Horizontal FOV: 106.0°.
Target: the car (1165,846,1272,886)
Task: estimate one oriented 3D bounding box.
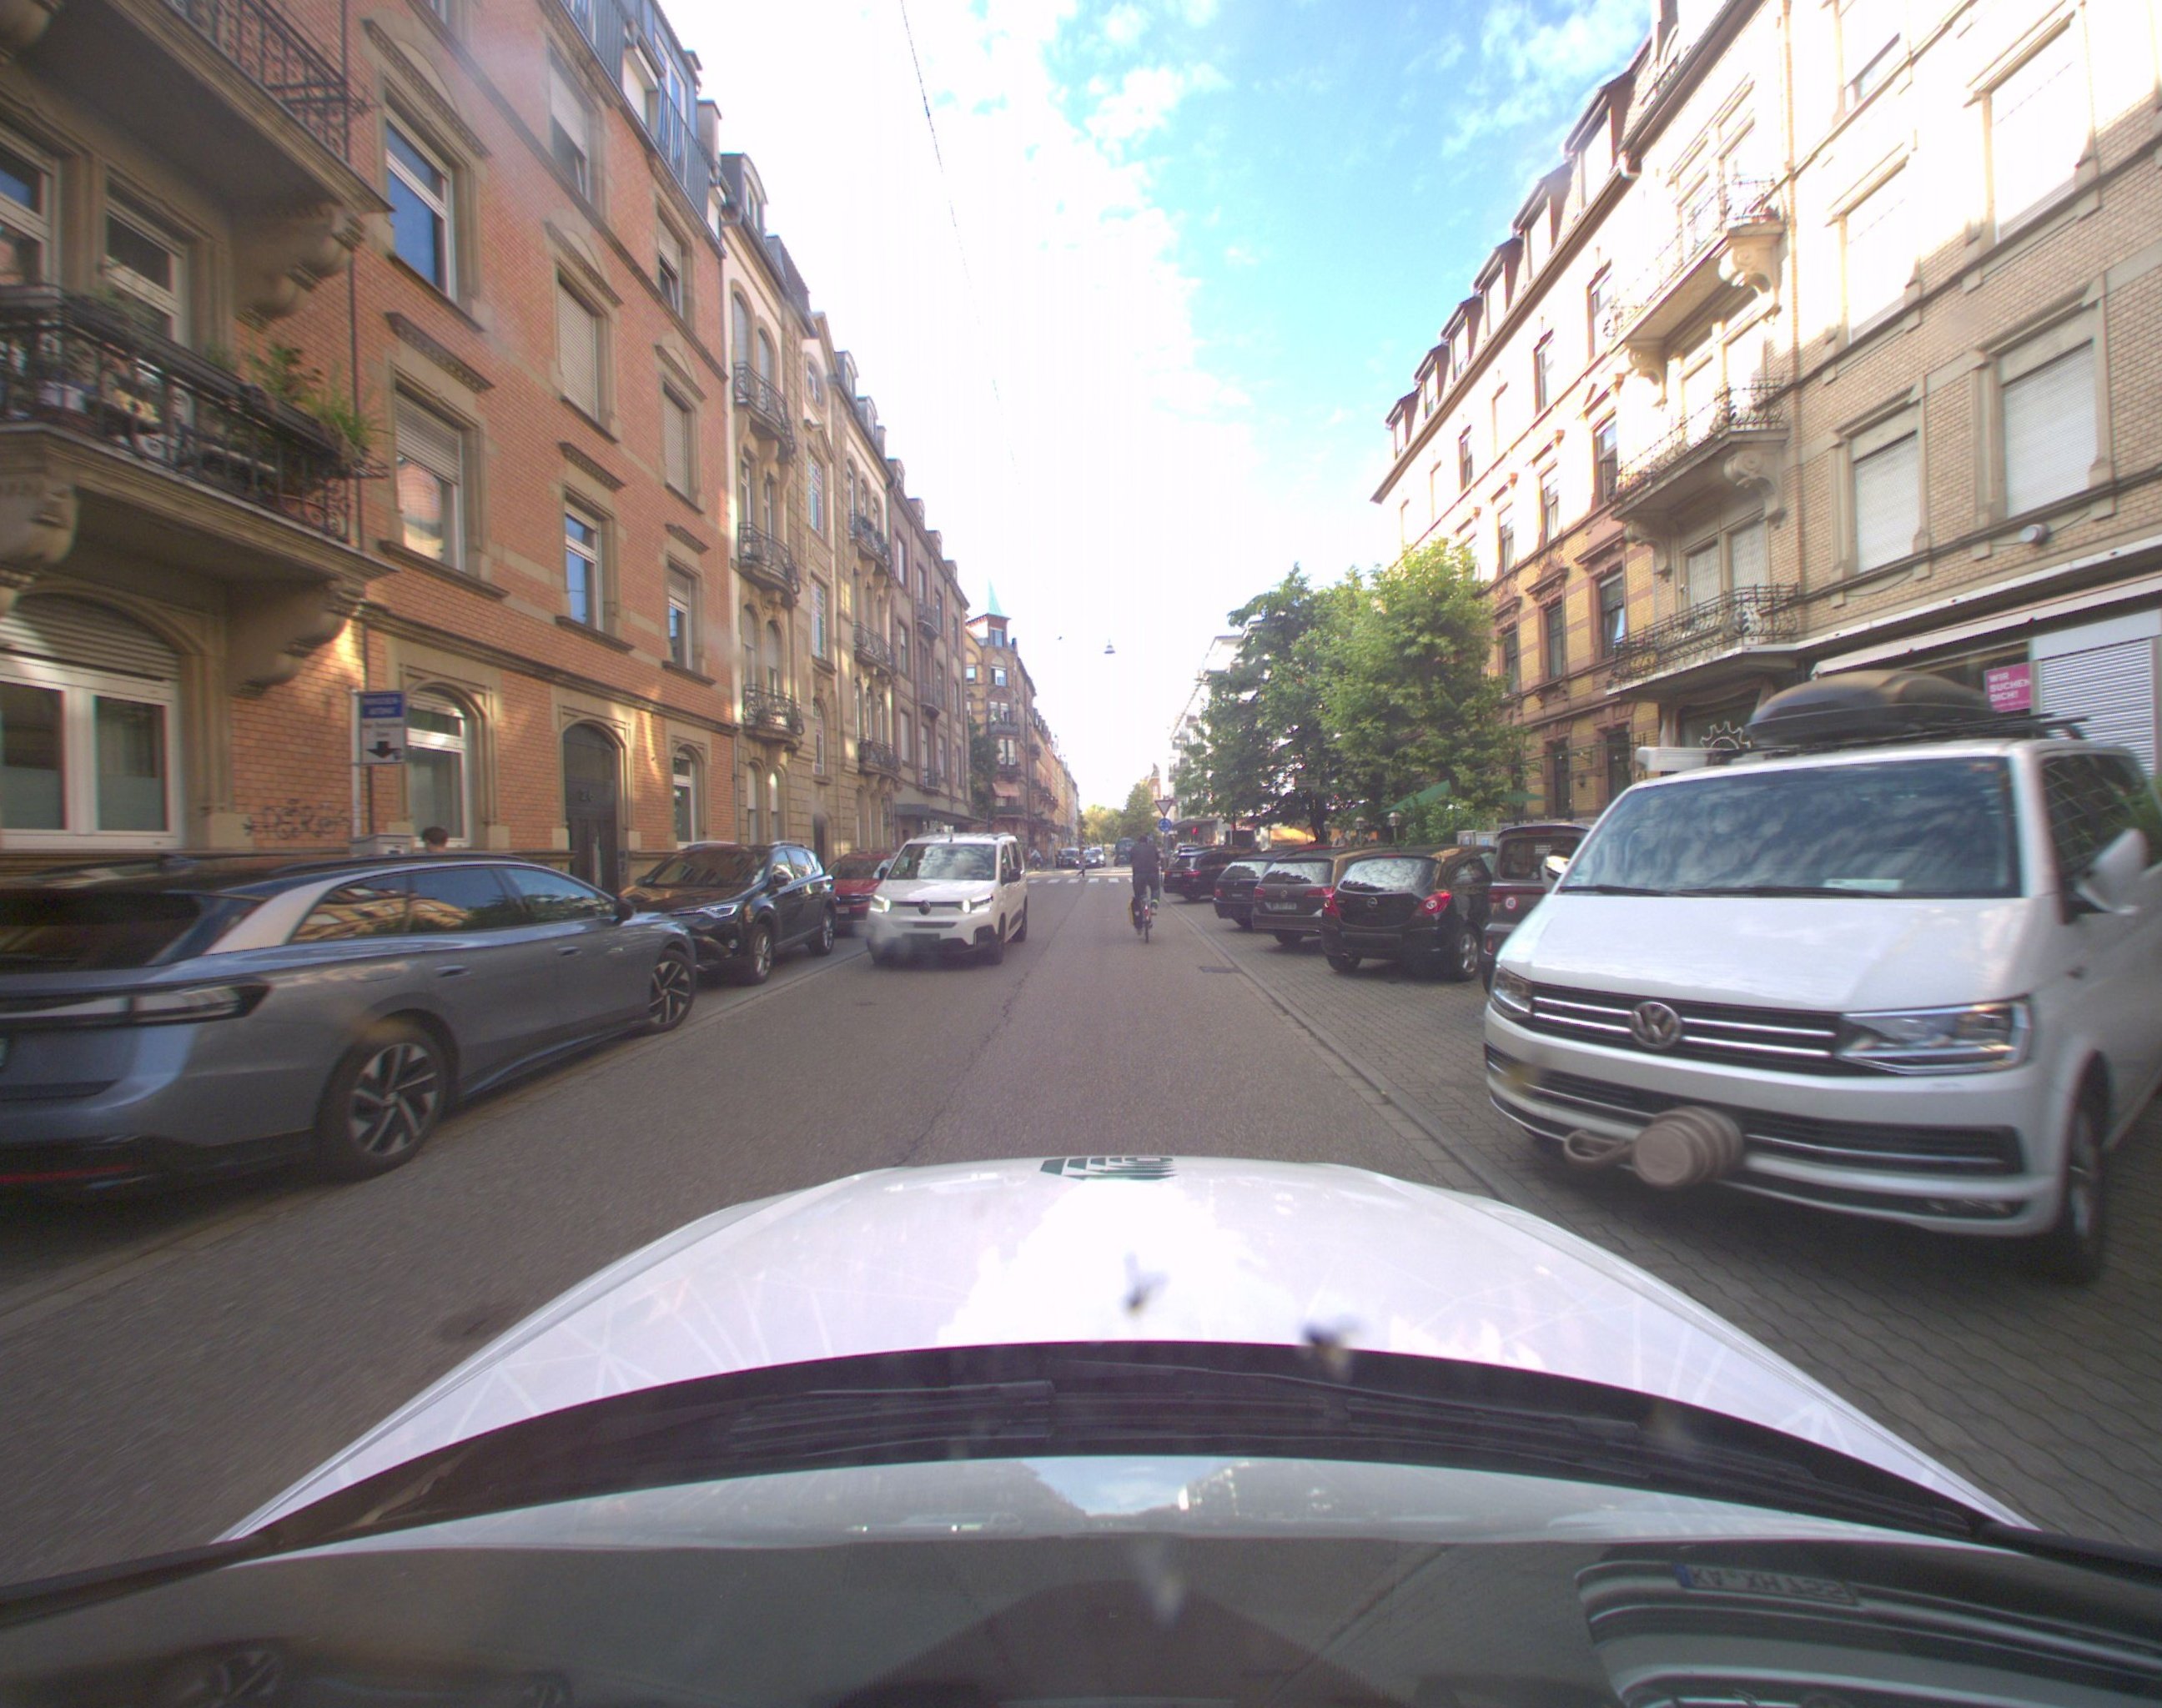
[{"bbox_3d":[5.576,0.464,32.957,3.952,1.457,1.754,-2,0,-26],"label":"car"}]

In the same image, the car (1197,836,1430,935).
[{"bbox_3d":[4.615,0.524,15.935,4.486,1.464,1.860,-4,2,-33],"label":"car"}]

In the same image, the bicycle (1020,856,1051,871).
[{"bbox_3d":[-3.380,0.715,60.212,2.188,1.092,0.674,0,0,-15],"label":"bicycle"}]

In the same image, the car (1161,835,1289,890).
[{"bbox_3d":[5.358,0.288,30.328,4.362,1.645,1.807,-4,1,-24],"label":"car"}]

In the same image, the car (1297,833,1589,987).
[{"bbox_3d":[4.688,0.558,10.292,4.015,1.459,1.730,-3,1,-40],"label":"car"}]

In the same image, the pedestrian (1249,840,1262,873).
[{"bbox_3d":[9.420,0.129,43.899,0.624,1.739,0.779,-2,0,14],"label":"pedestrian"}]

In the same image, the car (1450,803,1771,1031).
[{"bbox_3d":[4.917,0.472,7.584,2.473,1.666,1.336,-5,2,-25],"label":"car"}]

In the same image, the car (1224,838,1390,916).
[{"bbox_3d":[5.261,0.474,18.801,3.737,1.485,1.722,-4,1,-36],"label":"car"}]

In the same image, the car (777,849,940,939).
[{"bbox_3d":[-4.346,0.708,16.698,1.986,1.545,4.428,-2,0,1],"label":"car"}]

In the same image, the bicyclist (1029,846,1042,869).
[{"bbox_3d":[-3.379,0.234,60.217,0.855,1.665,0.786,0,0,-15],"label":"bicyclist"}]

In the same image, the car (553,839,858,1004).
[{"bbox_3d":[-4.539,0.656,10.858,1.868,1.681,4.892,0,1,-2],"label":"car"}]

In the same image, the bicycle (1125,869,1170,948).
[{"bbox_3d":[1.113,0.884,14.050,0.663,1.178,2.499,-1,0,3],"label":"bicycle"}]

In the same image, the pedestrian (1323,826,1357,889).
[{"bbox_3d":[7.958,0.099,25.048,0.835,1.878,0.724,-2,0,6],"label":"pedestrian"}]

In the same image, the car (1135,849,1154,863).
[{"bbox_3d":[7.108,0.213,91.897,1.985,1.486,4.003,-2,0,3],"label":"car"}]

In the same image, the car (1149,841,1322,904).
[{"bbox_3d":[4.631,0.484,24.363,4.779,1.456,2.039,-4,2,-26],"label":"car"}]

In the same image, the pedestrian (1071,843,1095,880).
[{"bbox_3d":[0.103,0.368,40.591,0.774,1.779,0.798,-2,0,40],"label":"pedestrian"}]

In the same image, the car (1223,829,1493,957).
[{"bbox_3d":[4.543,0.500,13.031,4.491,1.476,1.868,-5,2,-38],"label":"car"}]

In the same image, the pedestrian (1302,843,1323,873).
[{"bbox_3d":[10.632,0.162,37.441,0.755,1.342,0.596,-2,0,-2],"label":"pedestrian"}]

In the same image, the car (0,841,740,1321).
[{"bbox_3d":[-4.184,0.747,5.291,1.820,1.578,5.260,-1,0,-1],"label":"car"}]

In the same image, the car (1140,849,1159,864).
[{"bbox_3d":[6.733,0.211,80.442,1.638,1.324,3.580,-4,0,4],"label":"car"}]

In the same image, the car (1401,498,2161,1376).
[{"bbox_3d":[4.261,0.136,4.397,5.177,2.405,1.899,-3,0,-31],"label":"car"}]

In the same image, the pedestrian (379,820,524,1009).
[{"bbox_3d":[-6.333,0.580,8.236,0.752,1.808,0.864,0,0,5],"label":"pedestrian"}]

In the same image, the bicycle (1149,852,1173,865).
[{"bbox_3d":[6.855,0.424,70.136,1.991,1.045,0.533,-2,0,4],"label":"bicycle"}]

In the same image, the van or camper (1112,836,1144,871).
[{"bbox_3d":[4.228,-0.063,73.734,2.523,3.037,4.458,-2,0,0],"label":"van or camper"}]

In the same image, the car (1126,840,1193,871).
[{"bbox_3d":[4.822,0.099,50.452,3.973,1.882,2.000,0,0,1],"label":"car"}]

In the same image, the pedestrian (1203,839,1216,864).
[{"bbox_3d":[9.558,-0.191,60.478,0.864,1.851,0.614,-2,0,7],"label":"pedestrian"}]

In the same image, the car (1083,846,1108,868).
[{"bbox_3d":[1.379,0.275,74.695,1.934,1.722,4.856,-3,2,4],"label":"car"}]

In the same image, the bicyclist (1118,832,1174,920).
[{"bbox_3d":[1.106,0.374,14.115,0.930,1.484,0.748,-1,0,2],"label":"bicyclist"}]

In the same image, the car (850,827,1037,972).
[{"bbox_3d":[-1.864,0.569,12.518,1.910,1.828,4.441,-1,0,2],"label":"car"}]

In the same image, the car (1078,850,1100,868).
[{"bbox_3d":[0.646,0.400,66.133,1.744,1.436,4.211,-1,0,0],"label":"car"}]
